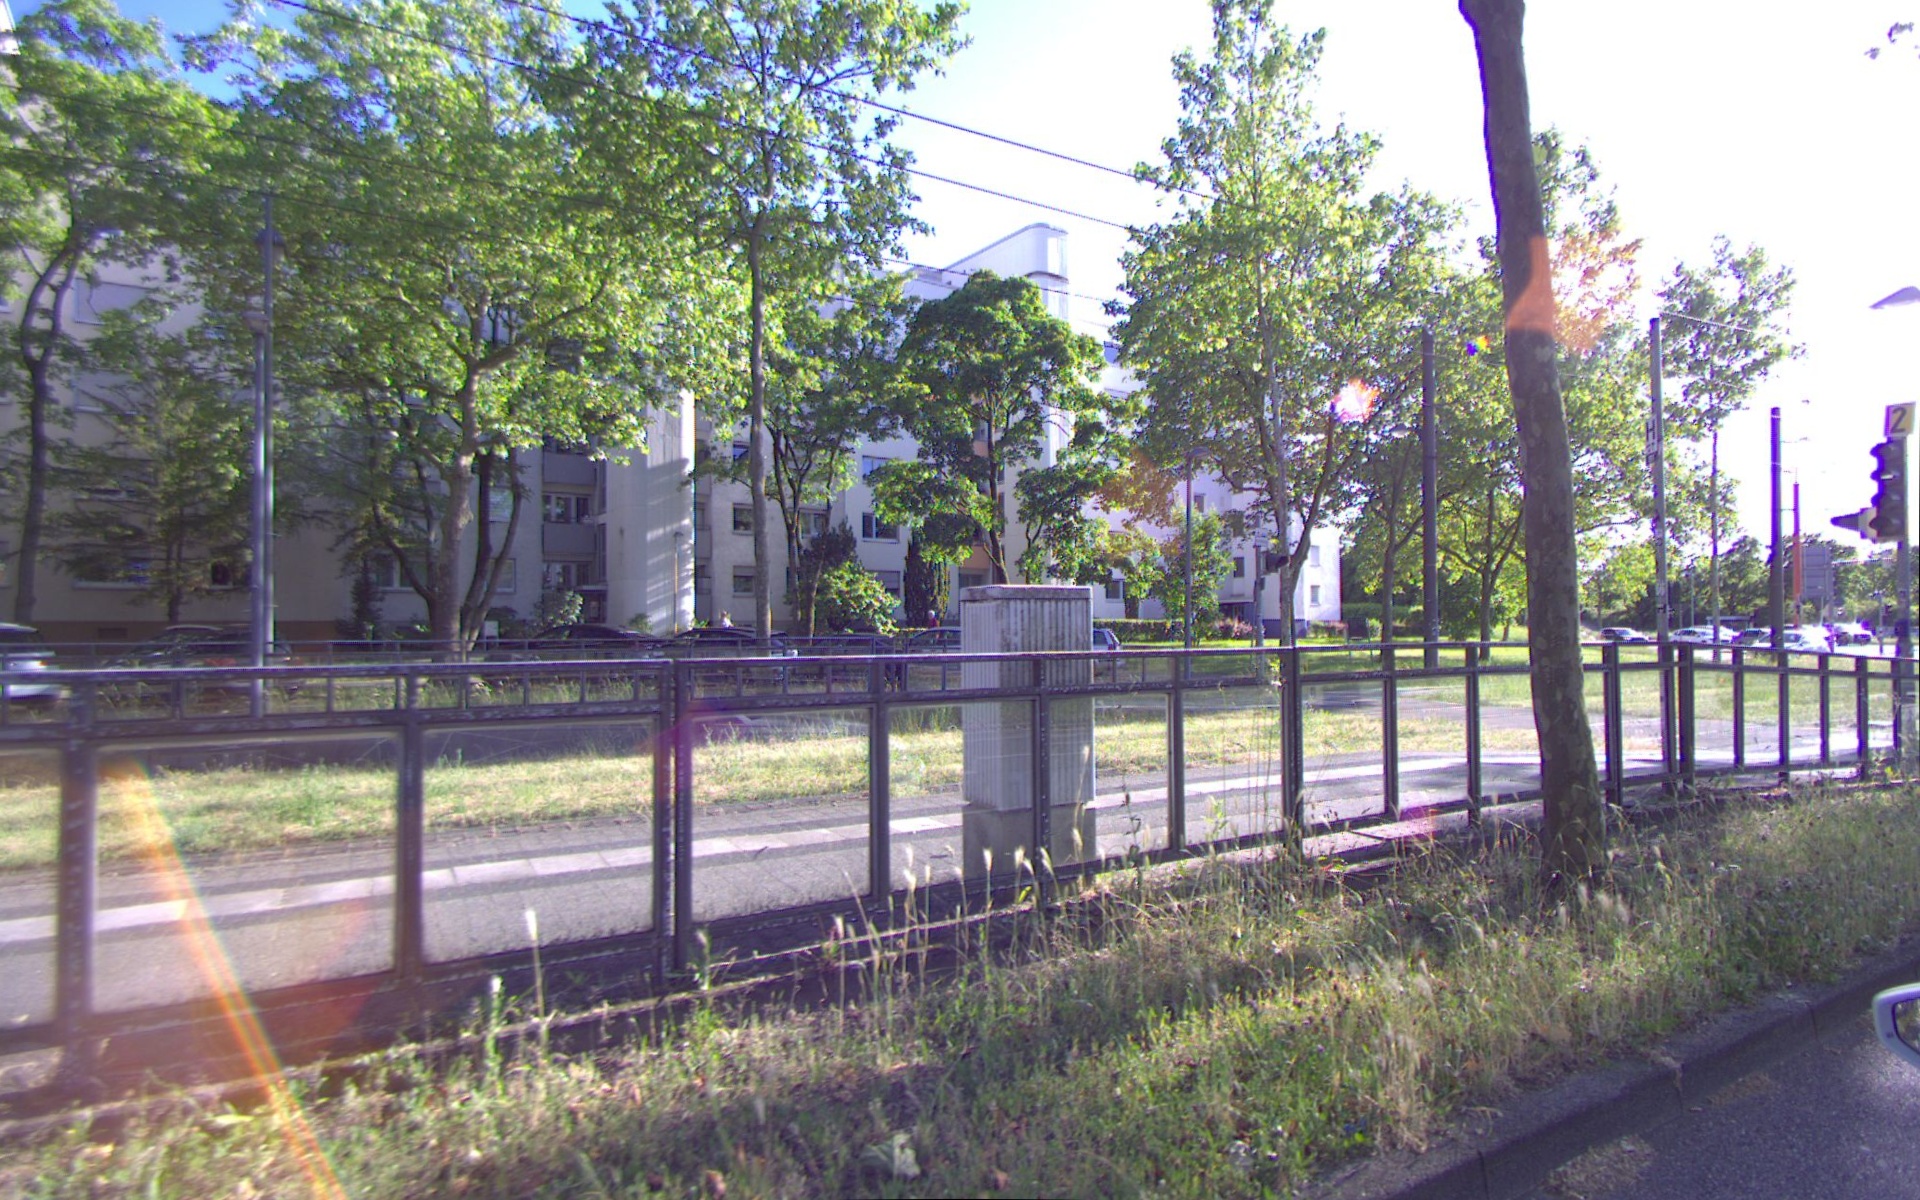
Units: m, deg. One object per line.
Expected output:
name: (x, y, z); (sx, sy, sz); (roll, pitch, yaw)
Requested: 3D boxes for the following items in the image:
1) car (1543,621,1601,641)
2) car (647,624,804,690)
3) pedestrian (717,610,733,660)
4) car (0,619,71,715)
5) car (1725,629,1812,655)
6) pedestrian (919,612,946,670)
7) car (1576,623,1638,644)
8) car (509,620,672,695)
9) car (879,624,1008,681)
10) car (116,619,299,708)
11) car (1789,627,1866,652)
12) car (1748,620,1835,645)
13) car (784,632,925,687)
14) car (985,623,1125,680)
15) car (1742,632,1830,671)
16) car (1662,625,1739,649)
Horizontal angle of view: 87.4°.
car: (54.856, 2.758, 90.098); (1.867, 1.632, 4.490); (-2, 0, -12)
car: (-5.598, 1.332, 24.125); (3.315, 1.445, 1.541); (1, -1, 13)
pedestrian: (-8.544, 1.271, 36.518); (0.446, 1.815, 0.315); (1, -1, -37)
car: (-17.507, 1.113, 17.217); (3.914, 1.565, 1.647); (0, 0, 18)
car: (55.622, 2.908, 69.192); (1.867, 1.632, 4.491); (-2, -2, -12)
pedestrian: (-0.864, 1.276, 31.546); (0.710, 1.816, 0.473); (1, 0, -32)
car: (50.549, 2.609, 78.565); (1.863, 1.564, 4.499); (1, -1, -2)
car: (-8.173, 1.241, 22.291); (3.075, 1.568, 1.466); (0, 0, 12)
car: (-0.441, 1.419, 27.822); (3.221, 1.450, 1.572); (1, 0, 17)
car: (-14.353, 1.153, 19.156); (3.321, 1.529, 1.463); (0, 0, 26)
car: (64.095, 2.858, 74.278); (1.867, 1.643, 3.991); (-1, 0, -12)
car: (58.488, 2.281, 70.721); (1.867, 1.632, 4.491); (-2, -2, -12)
car: (-2.714, 1.502, 25.924); (3.317, 1.270, 1.465); (1, -1, 20)
car: (2.794, 1.468, 29.367); (3.842, 1.496, 1.633); (1, -1, 17)
car: (33.161, 2.043, 40.324); (3.676, 1.469, 1.623); (1, -1, -31)
car: (55.241, 2.769, 75.005); (1.867, 1.632, 4.491); (-1, -2, -12)
